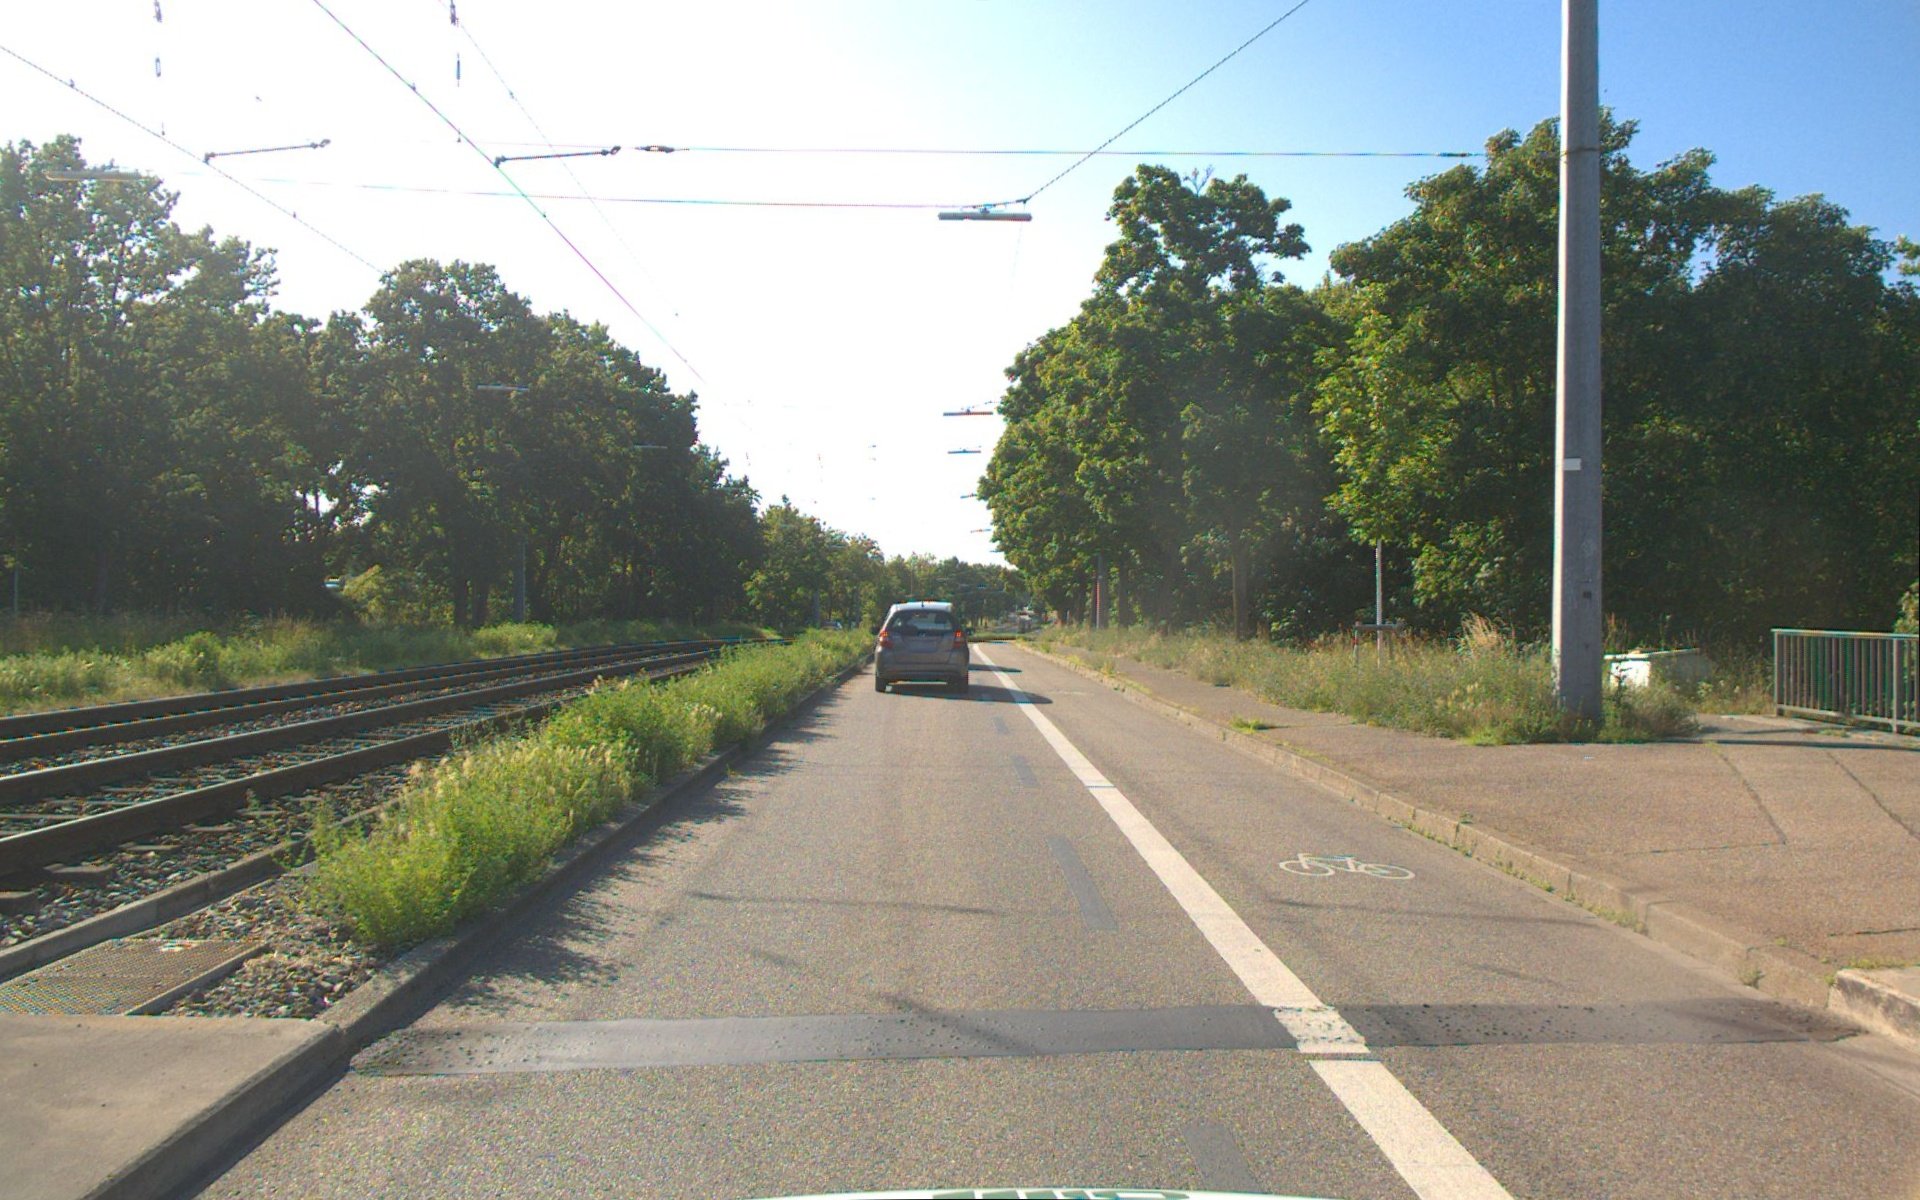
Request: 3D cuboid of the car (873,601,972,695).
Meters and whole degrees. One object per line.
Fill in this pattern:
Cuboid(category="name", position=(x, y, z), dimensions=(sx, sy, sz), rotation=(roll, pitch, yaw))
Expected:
Cuboid(category="car", position=(-0.642, 0.813, 30.065), dimensions=(1.636, 1.534, 3.811), rotation=(2, 0, 0))

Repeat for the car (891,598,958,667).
Cuboid(category="car", position=(-0.876, 0.797, 42.643), dimensions=(1.621, 1.533, 3.811), rotation=(2, 2, 0))
